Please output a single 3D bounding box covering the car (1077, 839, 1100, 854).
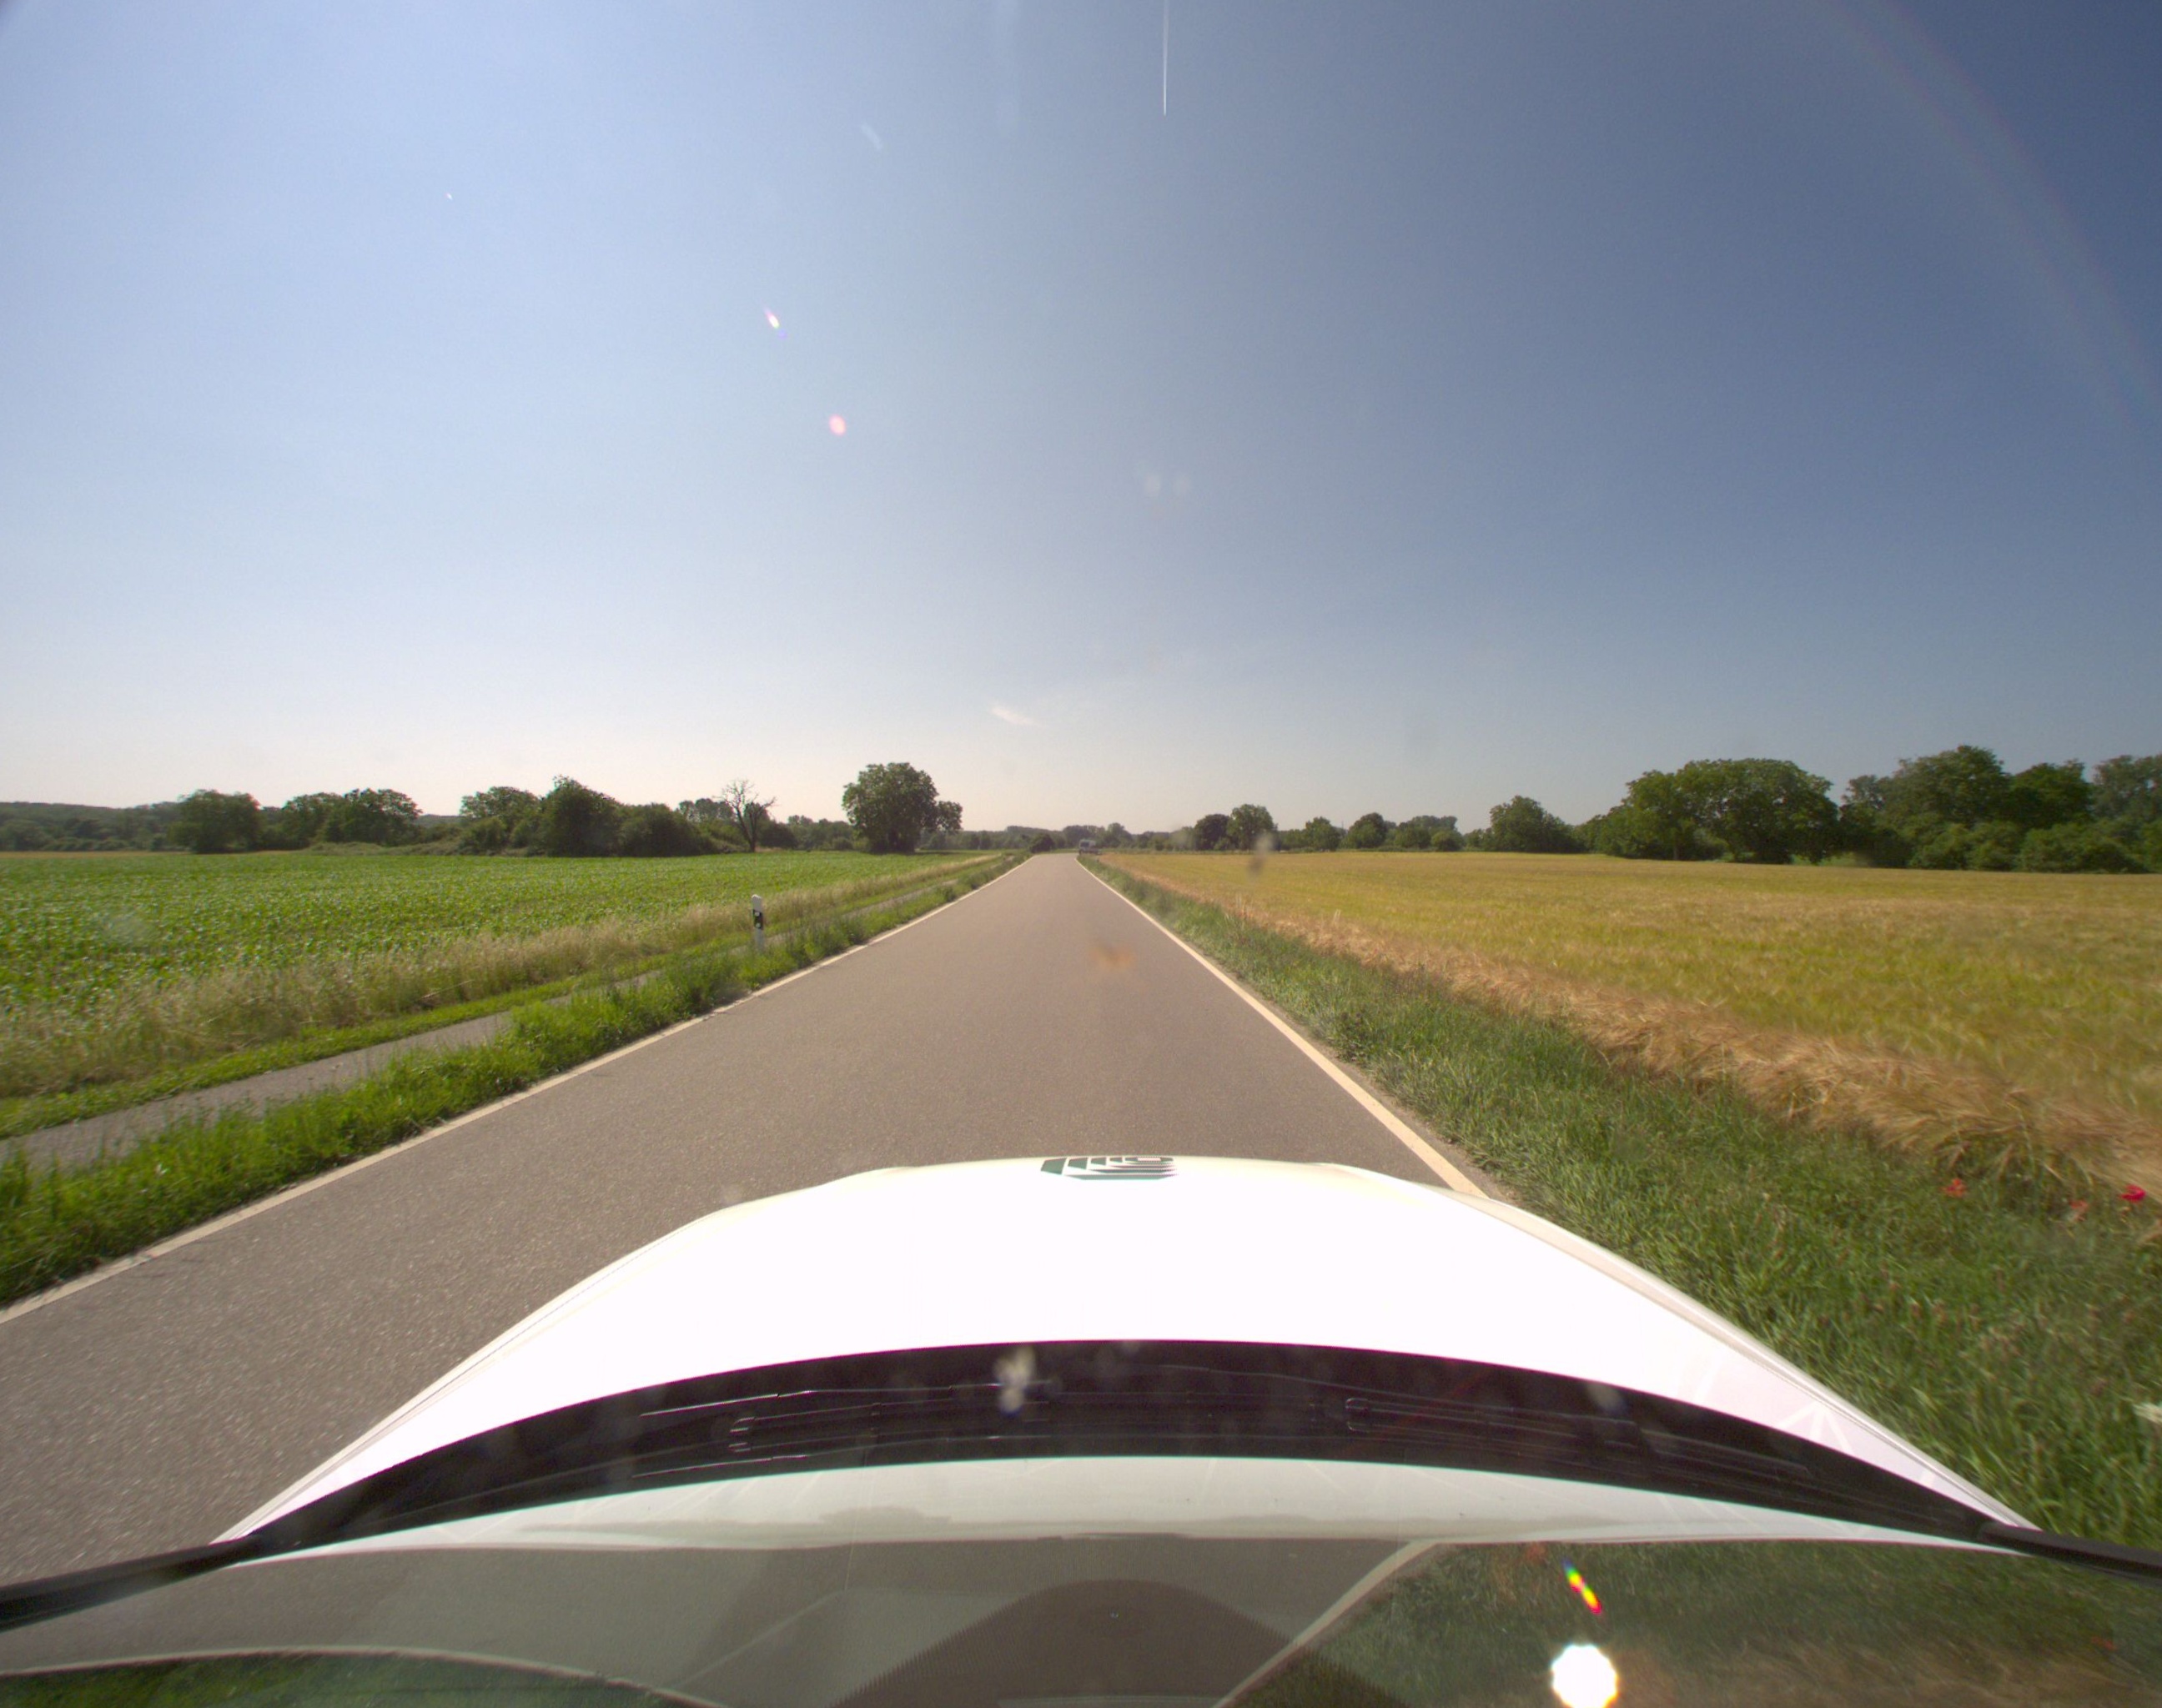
[{"bbox_3d":[1.278,-1.205,134.721,2.087,2.367,5.712,0,1,17],"label":"car"}]
